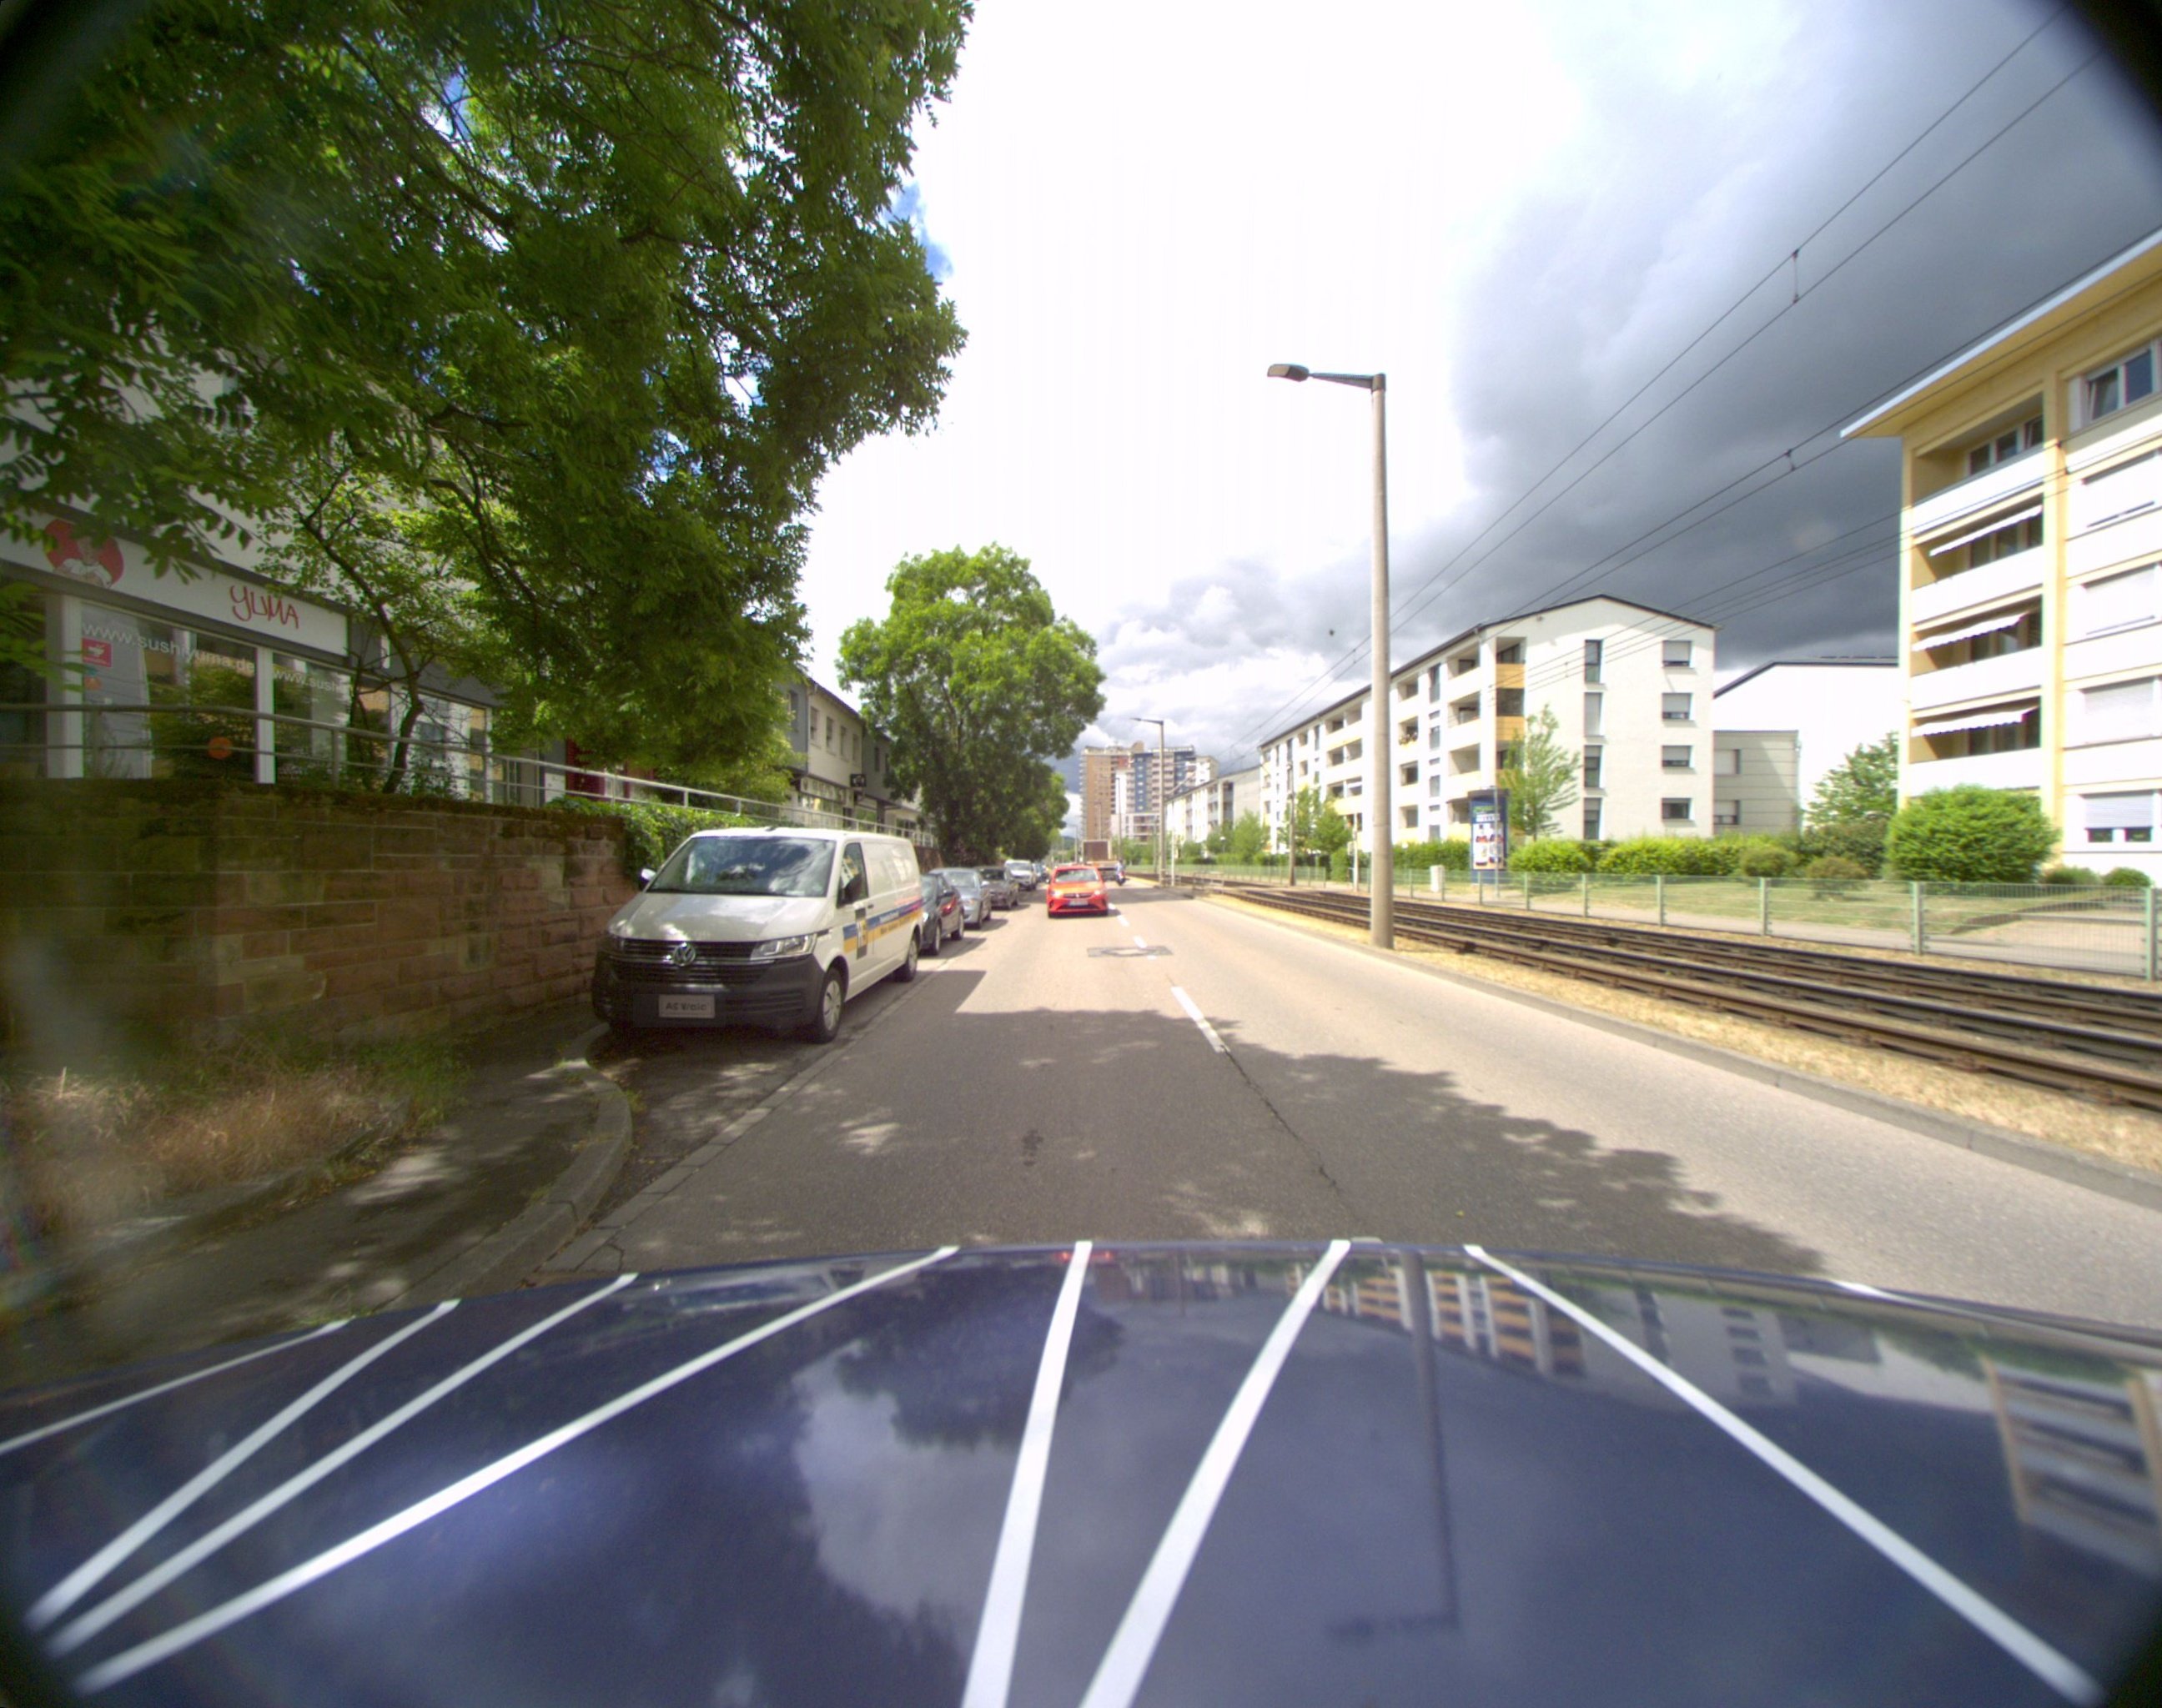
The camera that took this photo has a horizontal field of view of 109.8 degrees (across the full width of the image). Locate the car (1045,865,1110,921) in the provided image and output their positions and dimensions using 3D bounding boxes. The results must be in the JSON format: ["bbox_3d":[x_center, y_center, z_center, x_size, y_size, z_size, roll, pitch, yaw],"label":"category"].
[{"bbox_3d":[-0.050,1.085,22.637,1.723,1.434,4.001,-2,0,1],"label":"car"}]

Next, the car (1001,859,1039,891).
[{"bbox_3d":[-3.293,1.094,41.553,1.819,1.643,4.146,-1,0,-2],"label":"car"}]

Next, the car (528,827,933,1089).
[{"bbox_3d":[-3.128,0.790,8.229,1.978,1.958,5.013,-1,0,1],"label":"car"}]

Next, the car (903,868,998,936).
[{"bbox_3d":[-3.177,1.115,19.238,1.785,1.420,4.144,2,0,-2],"label":"car"}]

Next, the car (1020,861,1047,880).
[{"bbox_3d":[-3.613,1.246,58.371,1.784,1.420,4.147,-1,0,1],"label":"car"}]

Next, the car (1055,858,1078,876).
[{"bbox_3d":[-1.378,1.201,69.962,1.927,1.543,3.999,-2,0,-2],"label":"car"}]

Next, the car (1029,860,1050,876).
[{"bbox_3d":[-4.085,1.358,74.629,1.784,1.420,4.147,-1,0,1],"label":"car"}]

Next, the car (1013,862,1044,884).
[{"bbox_3d":[-3.540,1.253,51.964,1.784,1.420,4.147,-1,0,1],"label":"car"}]

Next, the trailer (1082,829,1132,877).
[{"bbox_3d":[1.965,-0.058,64.311,2.876,3.428,14.611,-2,0,-3],"label":"trailer"}]

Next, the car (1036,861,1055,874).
[{"bbox_3d":[-3.779,1.449,82.409,1.784,1.420,4.147,-1,0,1],"label":"car"}]

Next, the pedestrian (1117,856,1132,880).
[{"bbox_3d":[2.633,0.857,45.995,0.737,1.408,0.927,-2,0,-1],"label":"pedestrian"}]

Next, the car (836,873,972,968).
[{"bbox_3d":[-3.108,1.113,14.034,1.578,1.420,3.735,-1,0,1],"label":"car"}]

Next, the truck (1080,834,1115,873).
[{"bbox_3d":[1.538,-0.033,72.703,2.853,3.428,4.414,-2,0,-4],"label":"truck"}]

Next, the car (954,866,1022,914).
[{"bbox_3d":[-3.109,1.174,26.152,1.784,1.420,4.147,-1,0,1],"label":"car"}]

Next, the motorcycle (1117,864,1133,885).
[{"bbox_3d":[2.655,1.237,46.032,0.783,1.181,1.869,-1,0,-1],"label":"motorcycle"}]
